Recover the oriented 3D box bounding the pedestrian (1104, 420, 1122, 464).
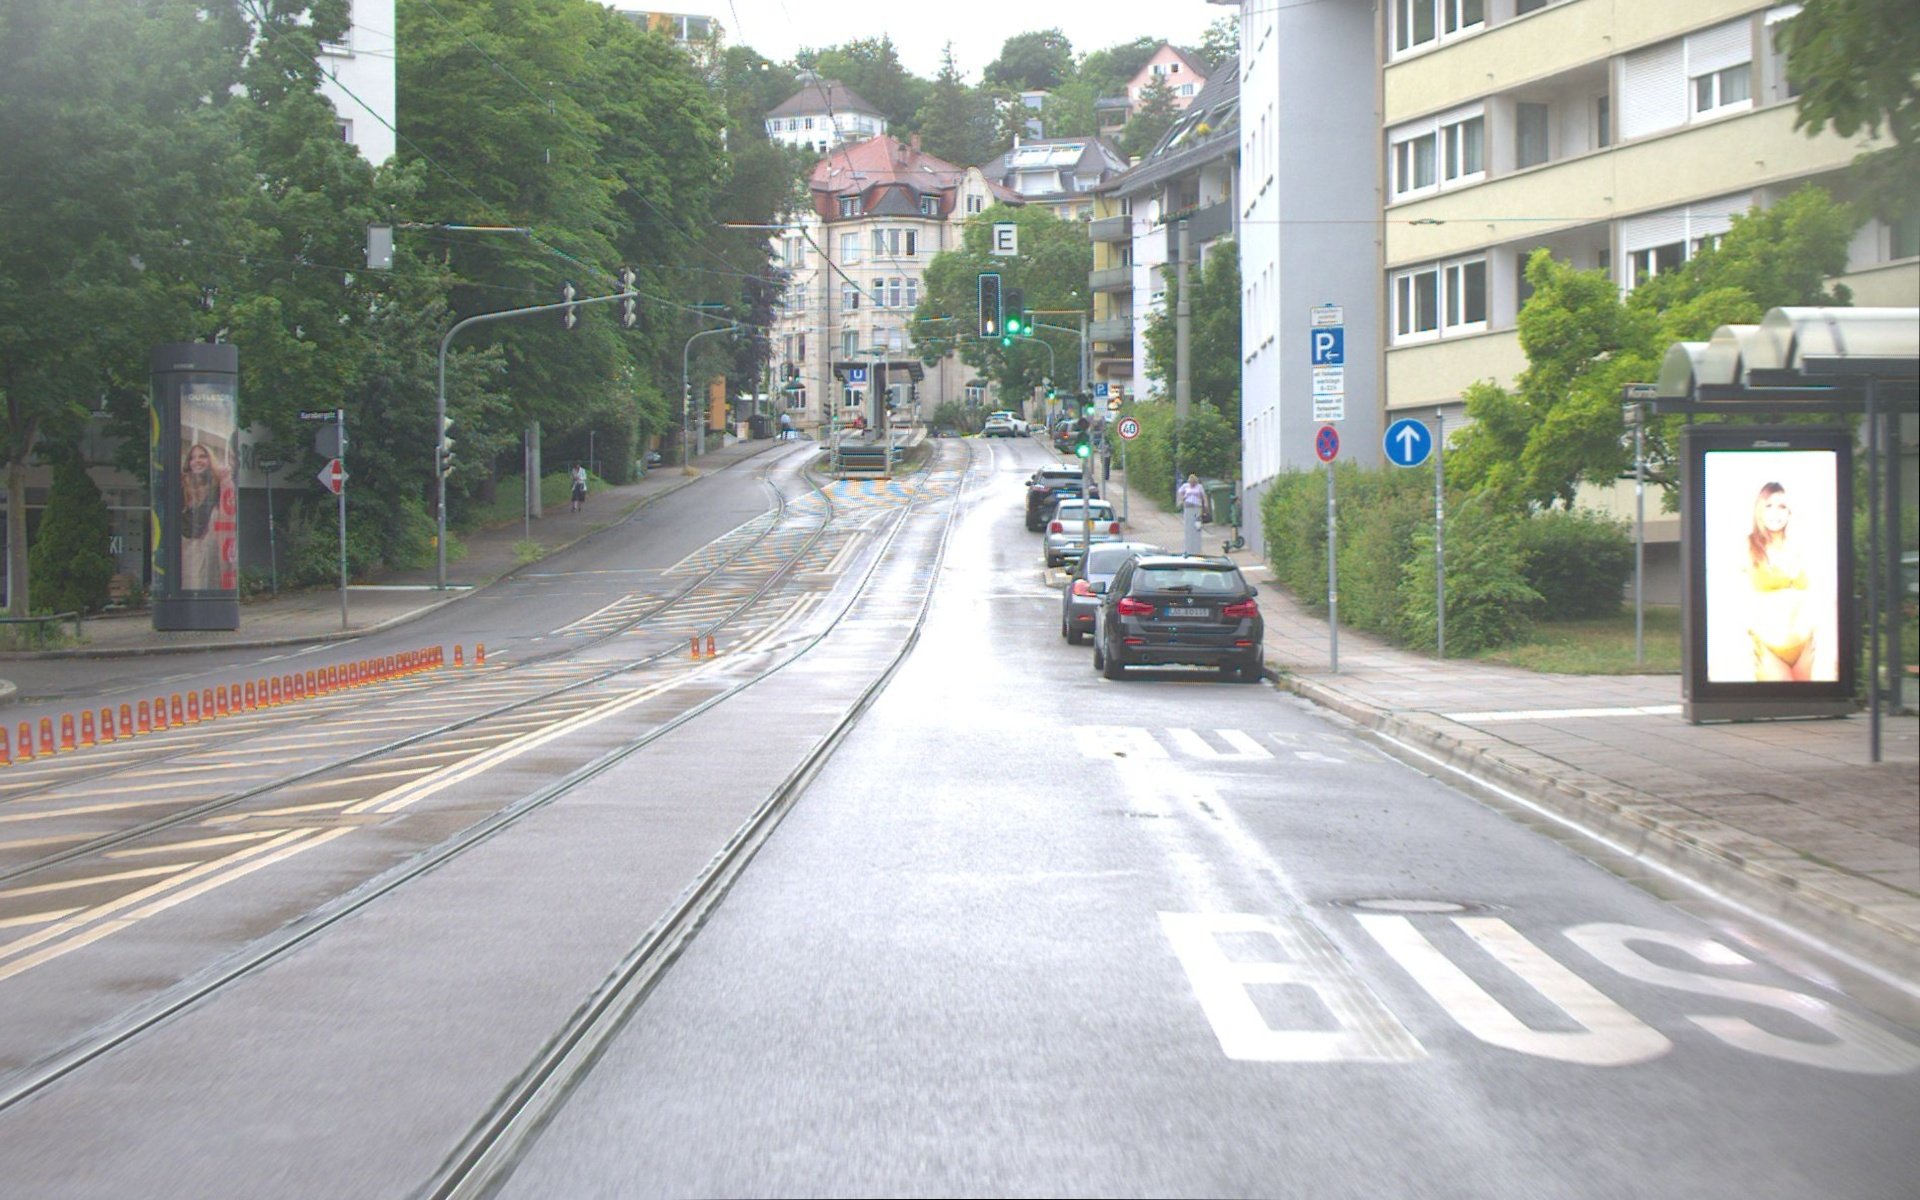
[{"bbox_3d":[5.627,-5.819,126.654,0.644,1.623,0.699,0,2,4],"label":"pedestrian"}]

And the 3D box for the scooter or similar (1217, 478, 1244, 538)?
[{"bbox_3d":[6.089,-2.076,77.314,0.575,1.245,1.610,0,6,6],"label":"scooter or similar"}]

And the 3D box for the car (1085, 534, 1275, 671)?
[{"bbox_3d":[2.513,-0.020,40.331,1.858,1.482,4.645,0,1,-1],"label":"car"}]

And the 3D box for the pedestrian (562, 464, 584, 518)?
[{"bbox_3d":[-11.787,-3.315,104.704,0.583,1.594,0.869,2,3,-3],"label":"pedestrian"}]

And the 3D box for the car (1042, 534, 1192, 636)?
[{"bbox_3d":[2.320,-0.258,51.806,1.939,1.459,4.207,0,1,-1],"label":"car"}]

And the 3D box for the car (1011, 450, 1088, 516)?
[{"bbox_3d":[2.400,-3.189,92.897,1.906,1.636,4.690,1,3,0],"label":"car"}]

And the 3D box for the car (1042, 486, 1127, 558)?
[{"bbox_3d":[2.751,-1.763,76.803,1.704,1.428,4.102,1,3,0],"label":"car"}]

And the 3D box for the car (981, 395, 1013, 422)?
[{"bbox_3d":[2.335,-12.001,215.609,1.906,1.636,4.690,1,3,0],"label":"car"}]

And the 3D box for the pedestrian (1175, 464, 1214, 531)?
[{"bbox_3d":[5.777,-2.535,84.724,0.882,1.577,0.801,-1,5,3],"label":"pedestrian"}]

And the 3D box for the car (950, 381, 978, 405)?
[{"bbox_3d":[0.285,-14.847,246.614,1.906,1.636,4.690,1,3,0],"label":"car"}]
